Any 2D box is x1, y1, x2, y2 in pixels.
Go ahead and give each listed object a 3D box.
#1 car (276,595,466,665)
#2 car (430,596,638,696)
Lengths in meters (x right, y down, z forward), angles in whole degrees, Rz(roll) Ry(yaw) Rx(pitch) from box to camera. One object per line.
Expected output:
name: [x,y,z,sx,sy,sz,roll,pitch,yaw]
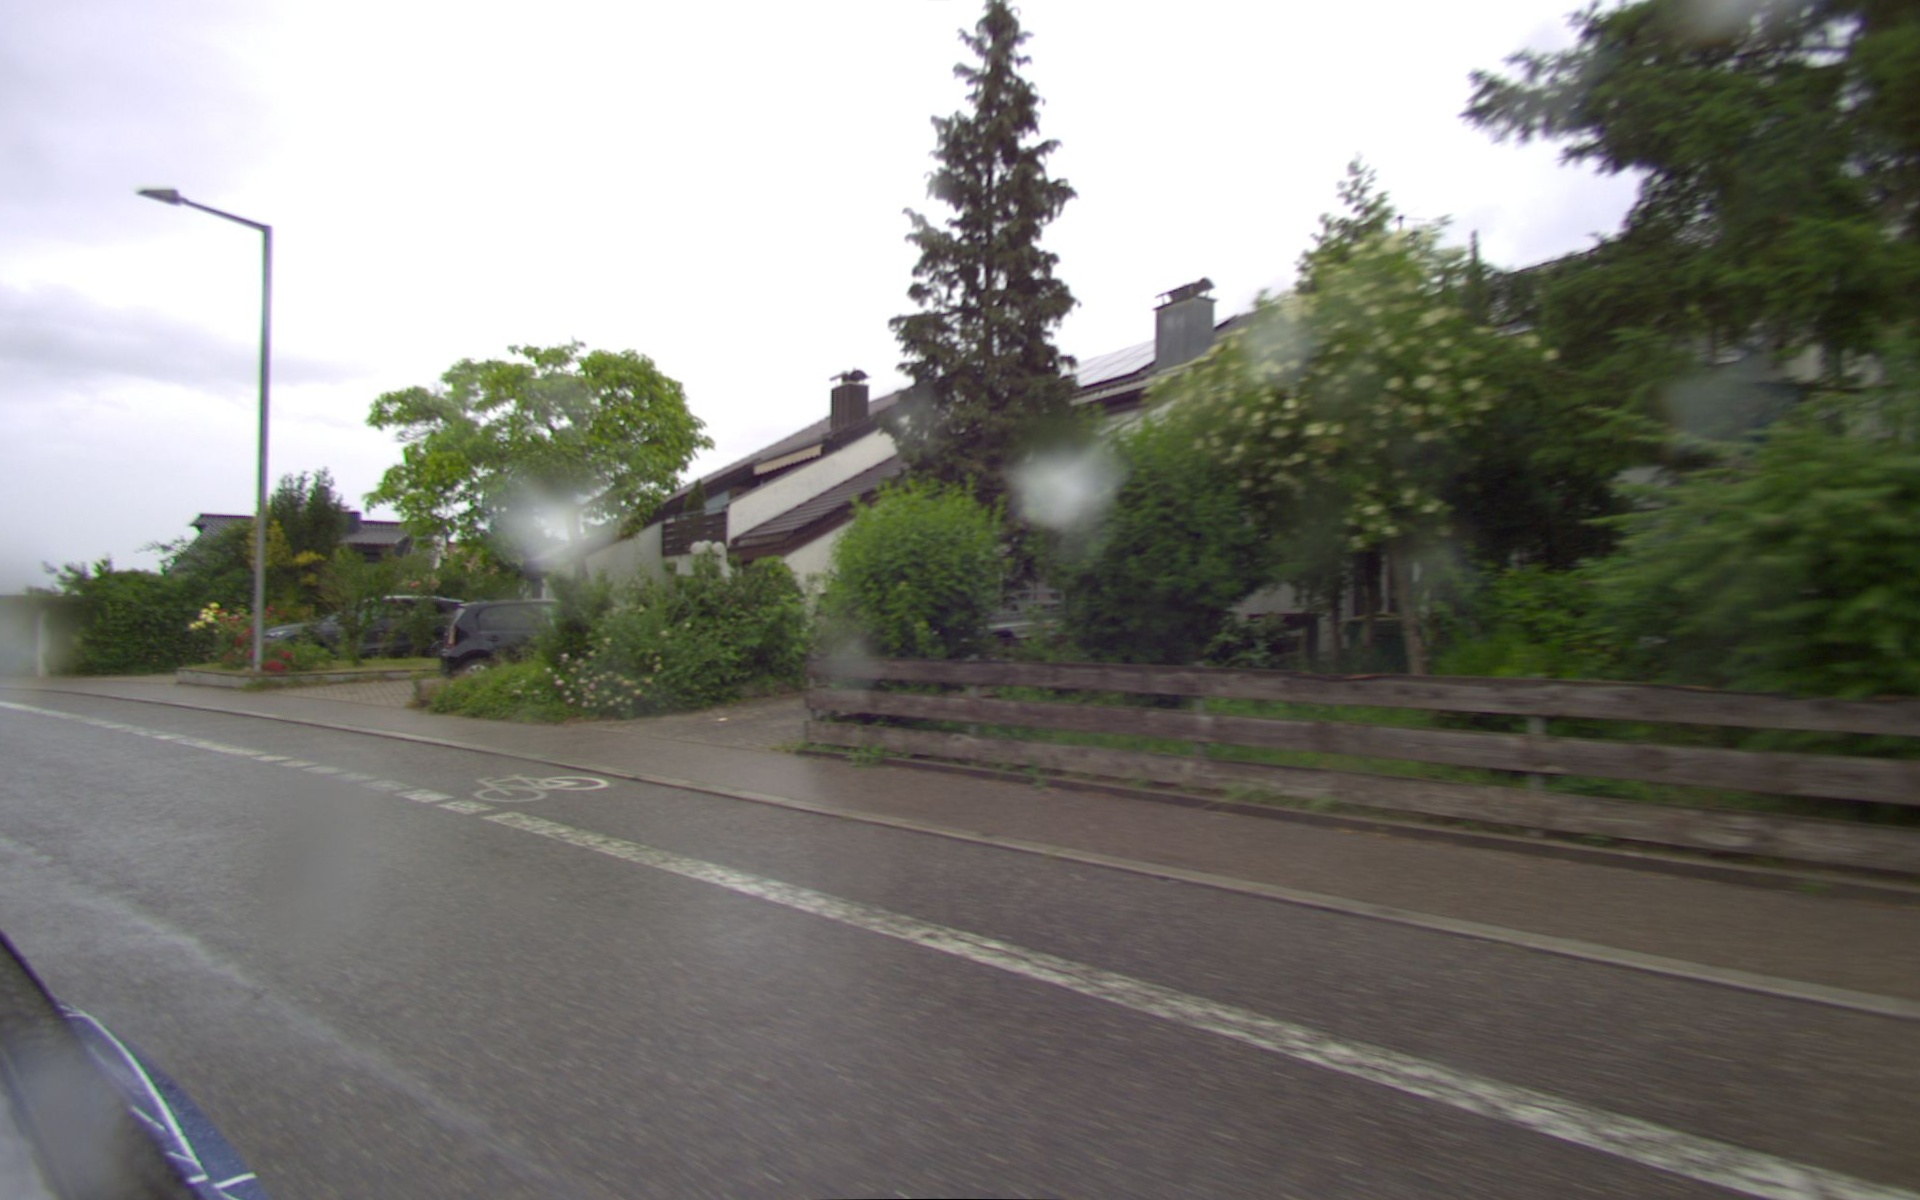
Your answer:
car: [-13.469,0.659,23.230,3.680,1.491,1.458,0,-1,-33]
car: [-6.884,0.706,16.466,2.988,1.491,1.459,0,-1,-24]
